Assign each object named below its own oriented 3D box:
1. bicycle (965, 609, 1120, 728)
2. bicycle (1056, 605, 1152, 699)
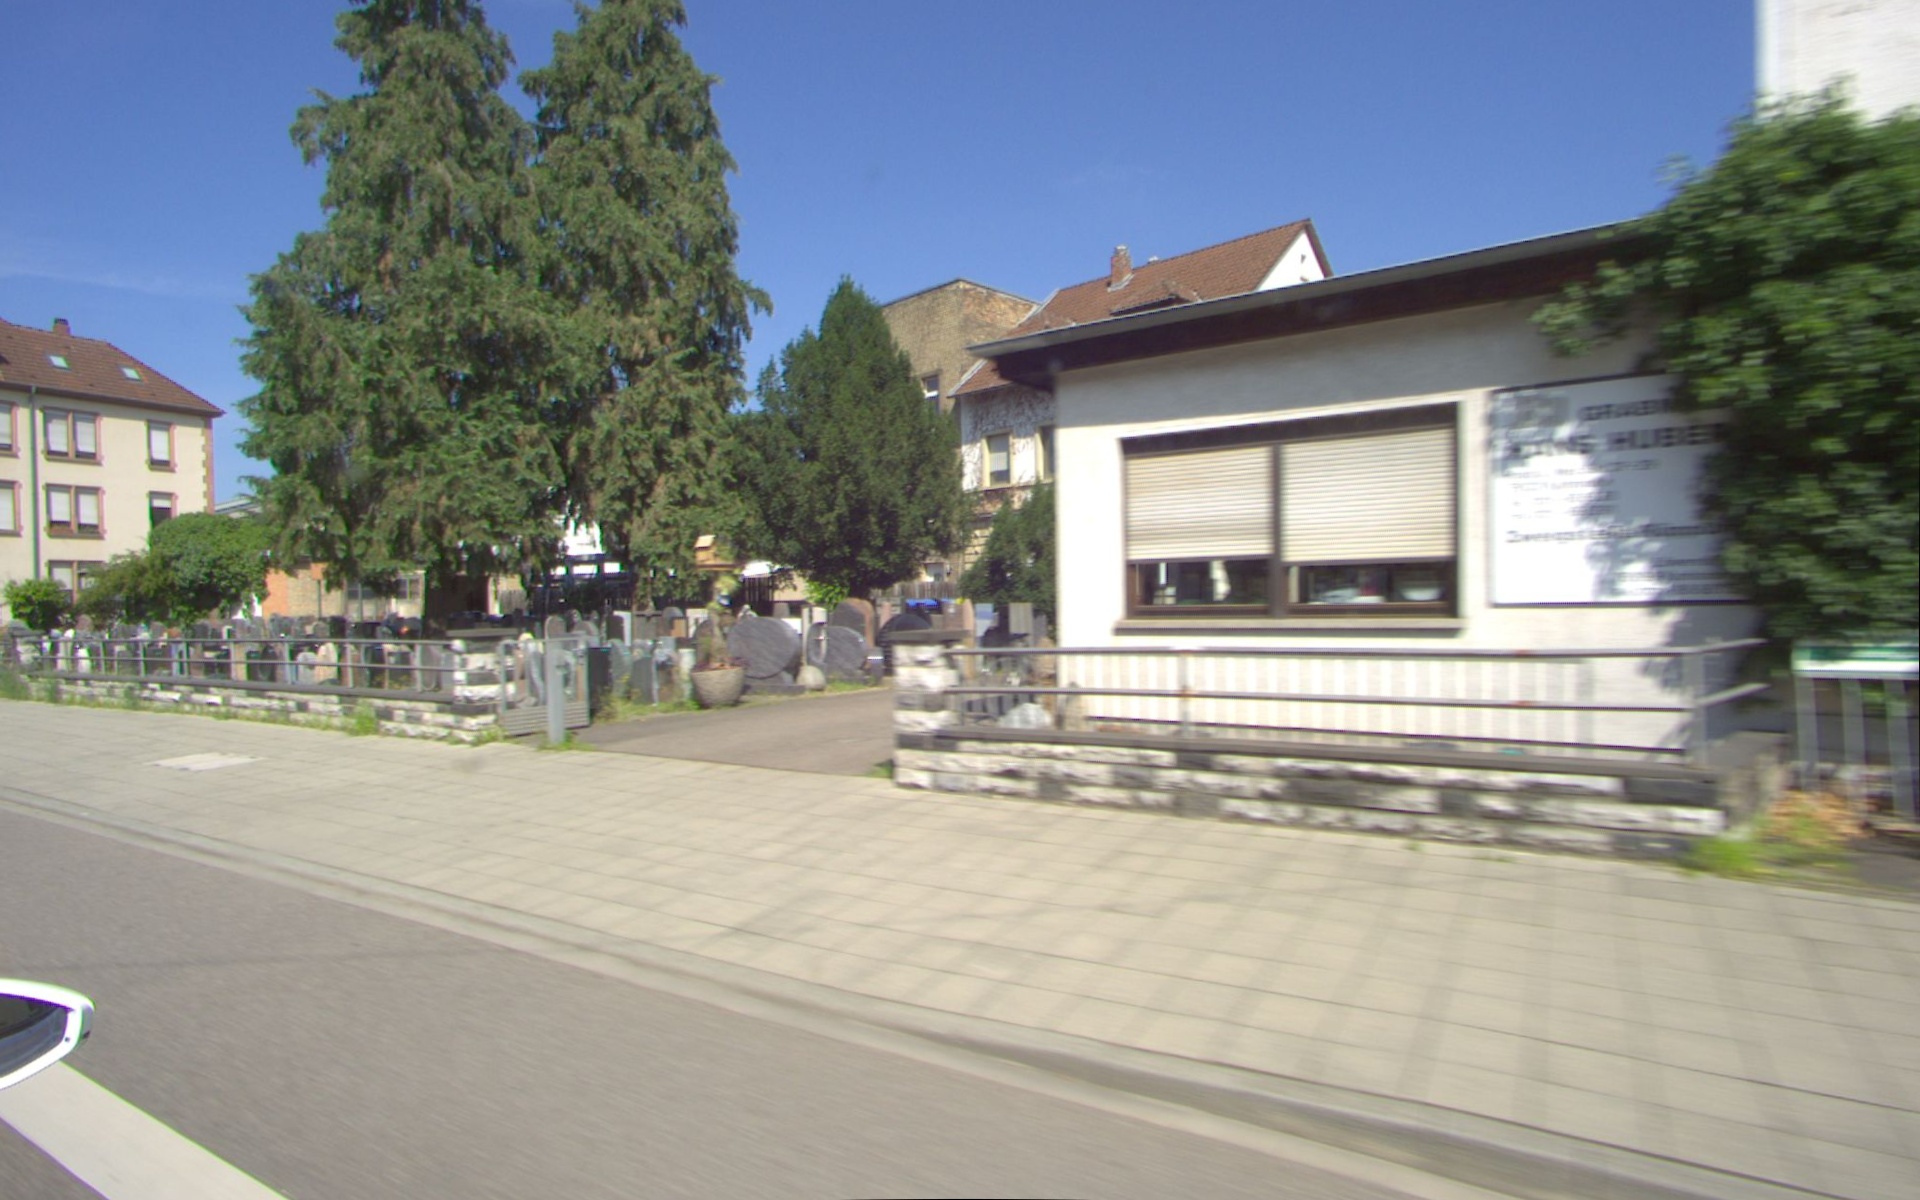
[{"bbox_3d":[0.895,0.682,10.583,1.668,1.126,0.511,-2,2,-34],"label":"bicycle"},{"bbox_3d":[1.956,0.656,13.410,0.505,1.126,1.786,0,2,35],"label":"bicycle"}]
